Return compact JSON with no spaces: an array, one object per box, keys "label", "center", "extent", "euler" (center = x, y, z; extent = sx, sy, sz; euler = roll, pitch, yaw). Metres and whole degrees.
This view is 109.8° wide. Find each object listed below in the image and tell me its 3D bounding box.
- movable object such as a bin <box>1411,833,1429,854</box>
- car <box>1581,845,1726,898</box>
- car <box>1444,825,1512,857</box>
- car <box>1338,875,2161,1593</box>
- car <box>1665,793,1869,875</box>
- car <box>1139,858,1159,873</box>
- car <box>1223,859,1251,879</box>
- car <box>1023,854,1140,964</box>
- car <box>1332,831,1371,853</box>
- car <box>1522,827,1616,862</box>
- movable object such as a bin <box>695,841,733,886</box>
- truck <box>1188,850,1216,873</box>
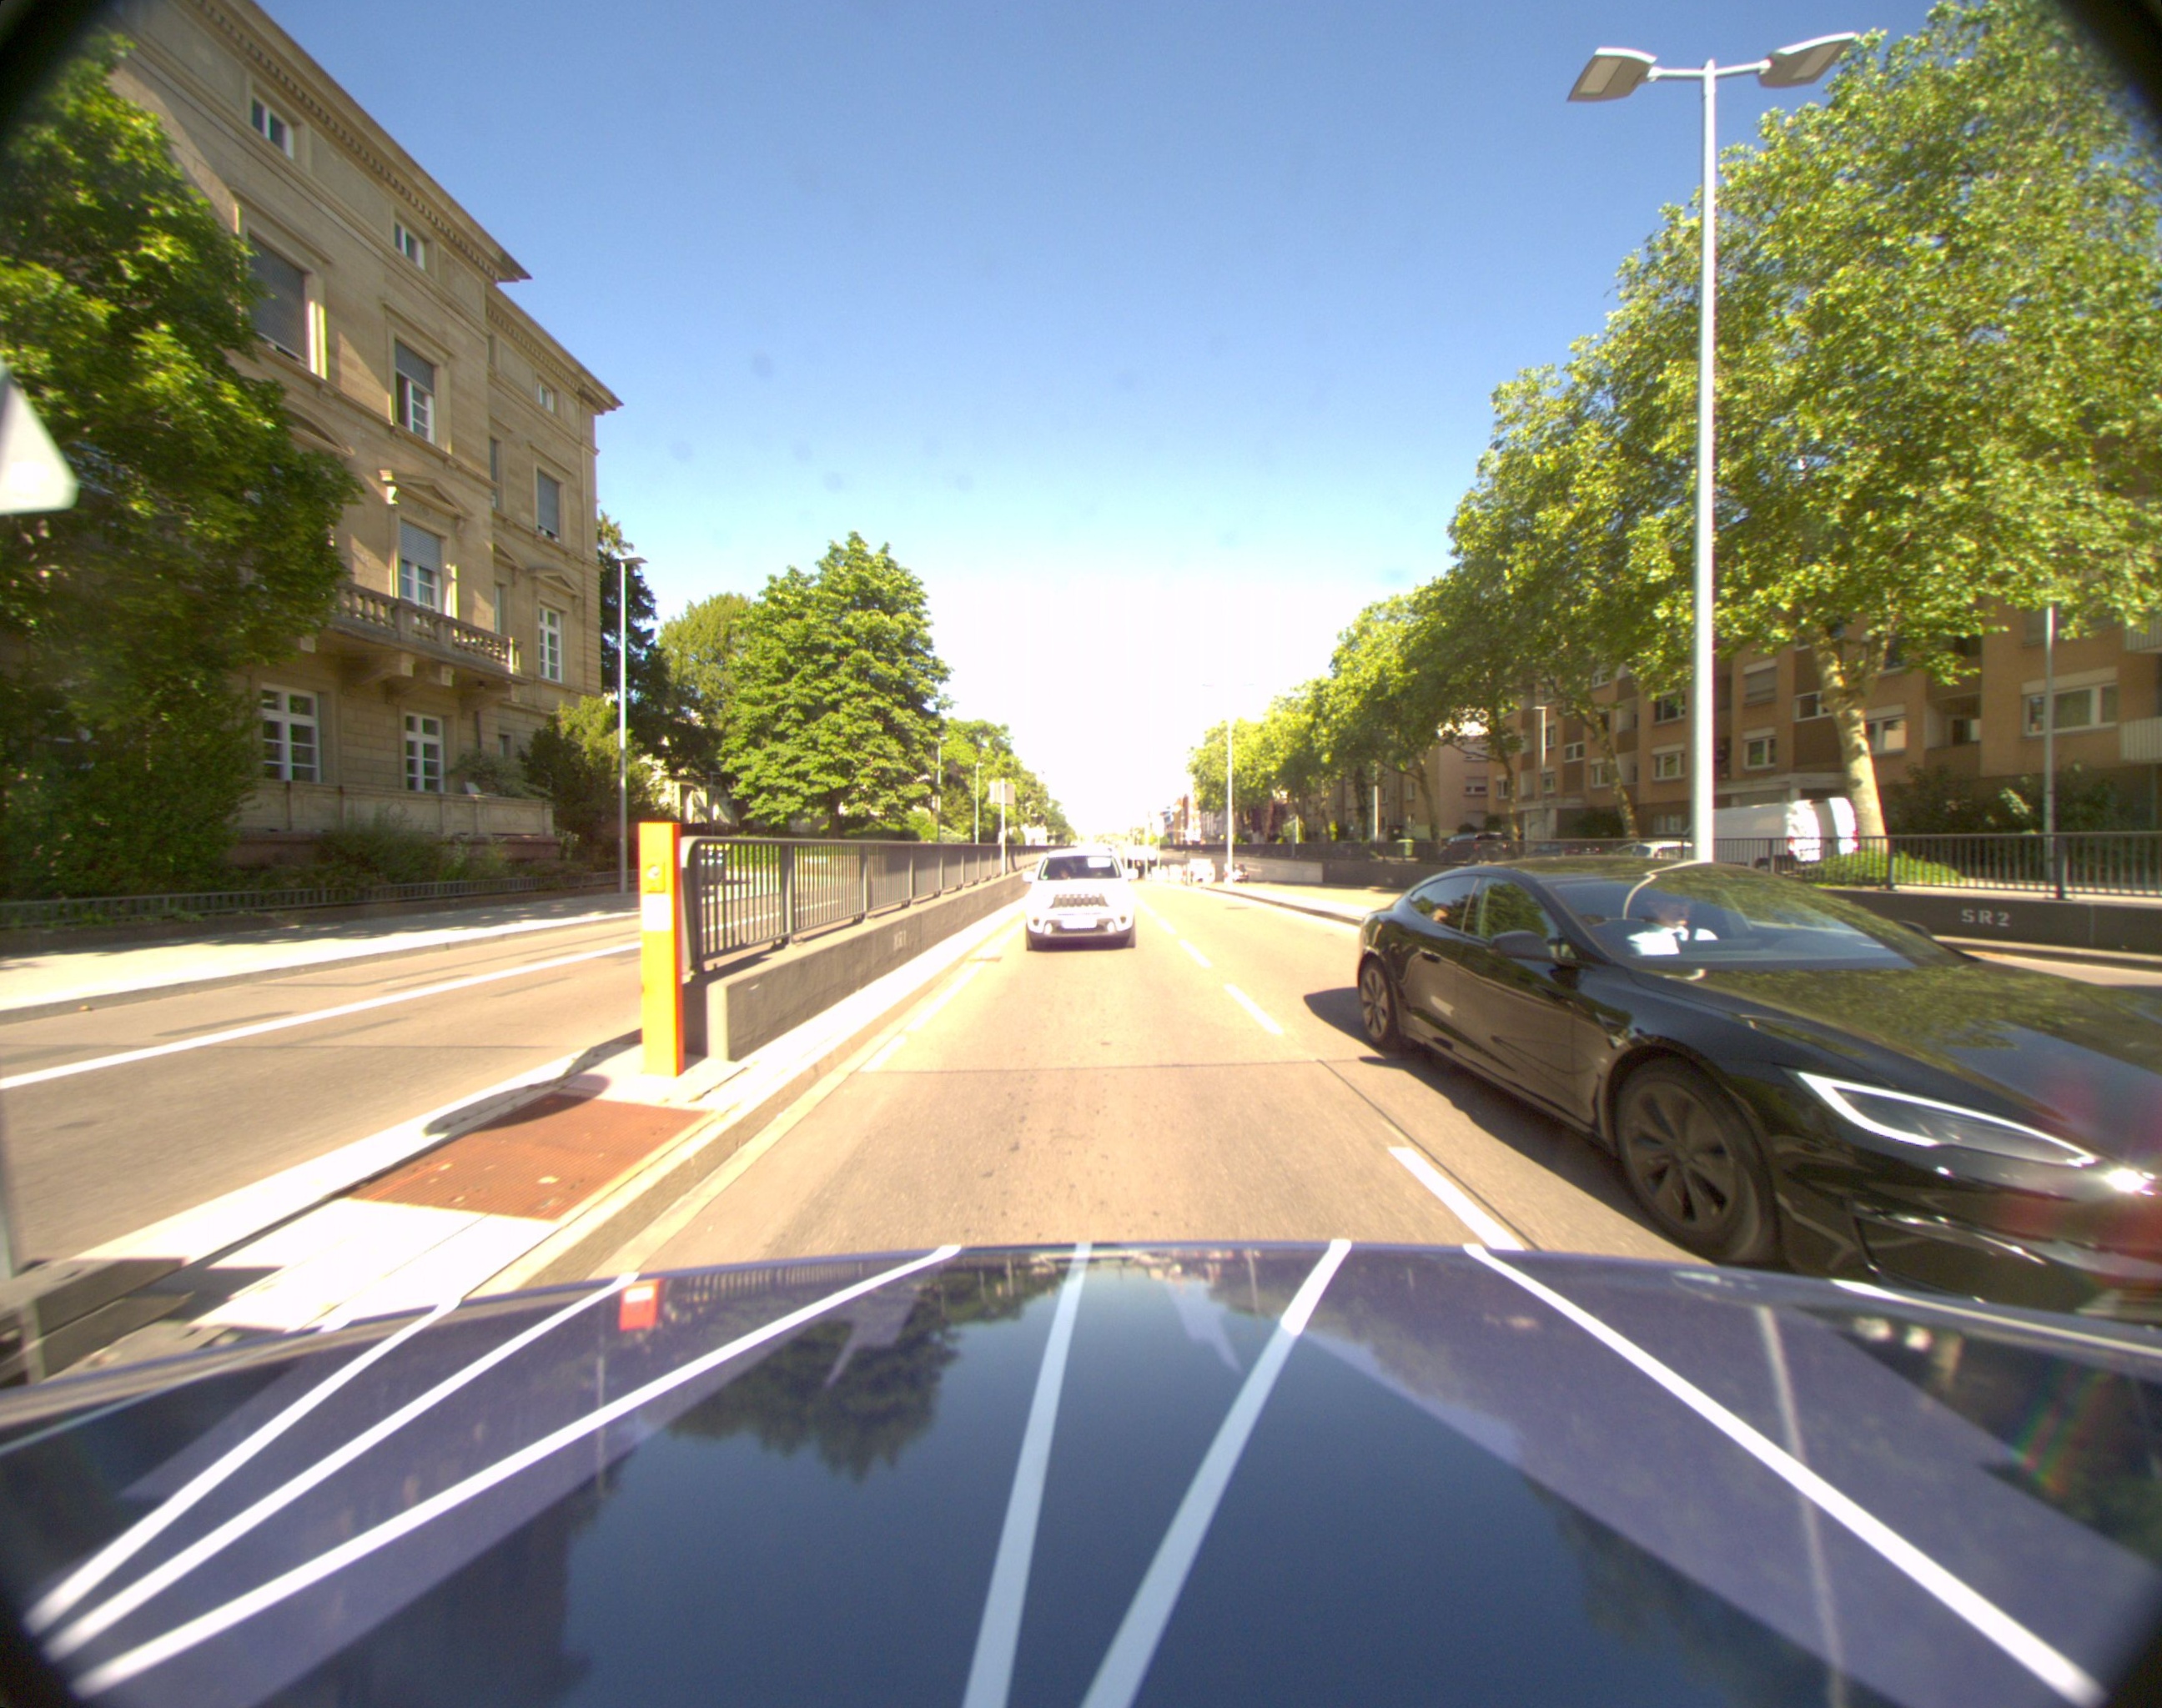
[{"label":"movable object such as a bin","center":[27.063,-0.828,60.630],"extent":[0.885,1.632,1.253],"euler":[1,0,1]},{"label":"car","center":[17.711,0.483,23.737],"extent":[1.632,1.478,3.688],"euler":[-2,1,-3]},{"label":"car","center":[23.202,-0.725,44.588],"extent":[1.998,1.742,4.001],"euler":[-1,0,2]},{"label":"car","center":[3.094,0.891,3.961],"extent":[1.930,1.403,4.625],"euler":[-1,0,0]},{"label":"car","center":[22.832,-0.601,25.692],"extent":[2.250,2.431,5.288],"euler":[1,0,2]},{"label":"car","center":[10.019,1.698,112.557],"extent":[2.449,2.073,5.638],"euler":[-1,1,1]},{"label":"car","center":[12.651,1.198,61.707],"extent":[1.662,1.465,3.297],"euler":[1,1,1]},{"label":"car","center":[0.031,0.844,13.496],"extent":[1.744,1.648,3.690],"euler":[-1,0,1]},{"label":"car","center":[23.676,-1.024,66.653],"extent":[1.998,1.839,4.000],"euler":[1,0,1]},{"label":"car","center":[23.114,-0.415,36.206],"extent":[1.998,1.571,4.001],"euler":[1,0,2]},{"label":"movable object such as a bin","center":[-11.761,0.300,24.399],"extent":[0.975,1.390,1.285],"euler":[1,0,-21]},{"label":"truck","center":[13.033,0.765,82.146],"extent":[2.285,2.380,5.368],"euler":[1,0,1]}]
